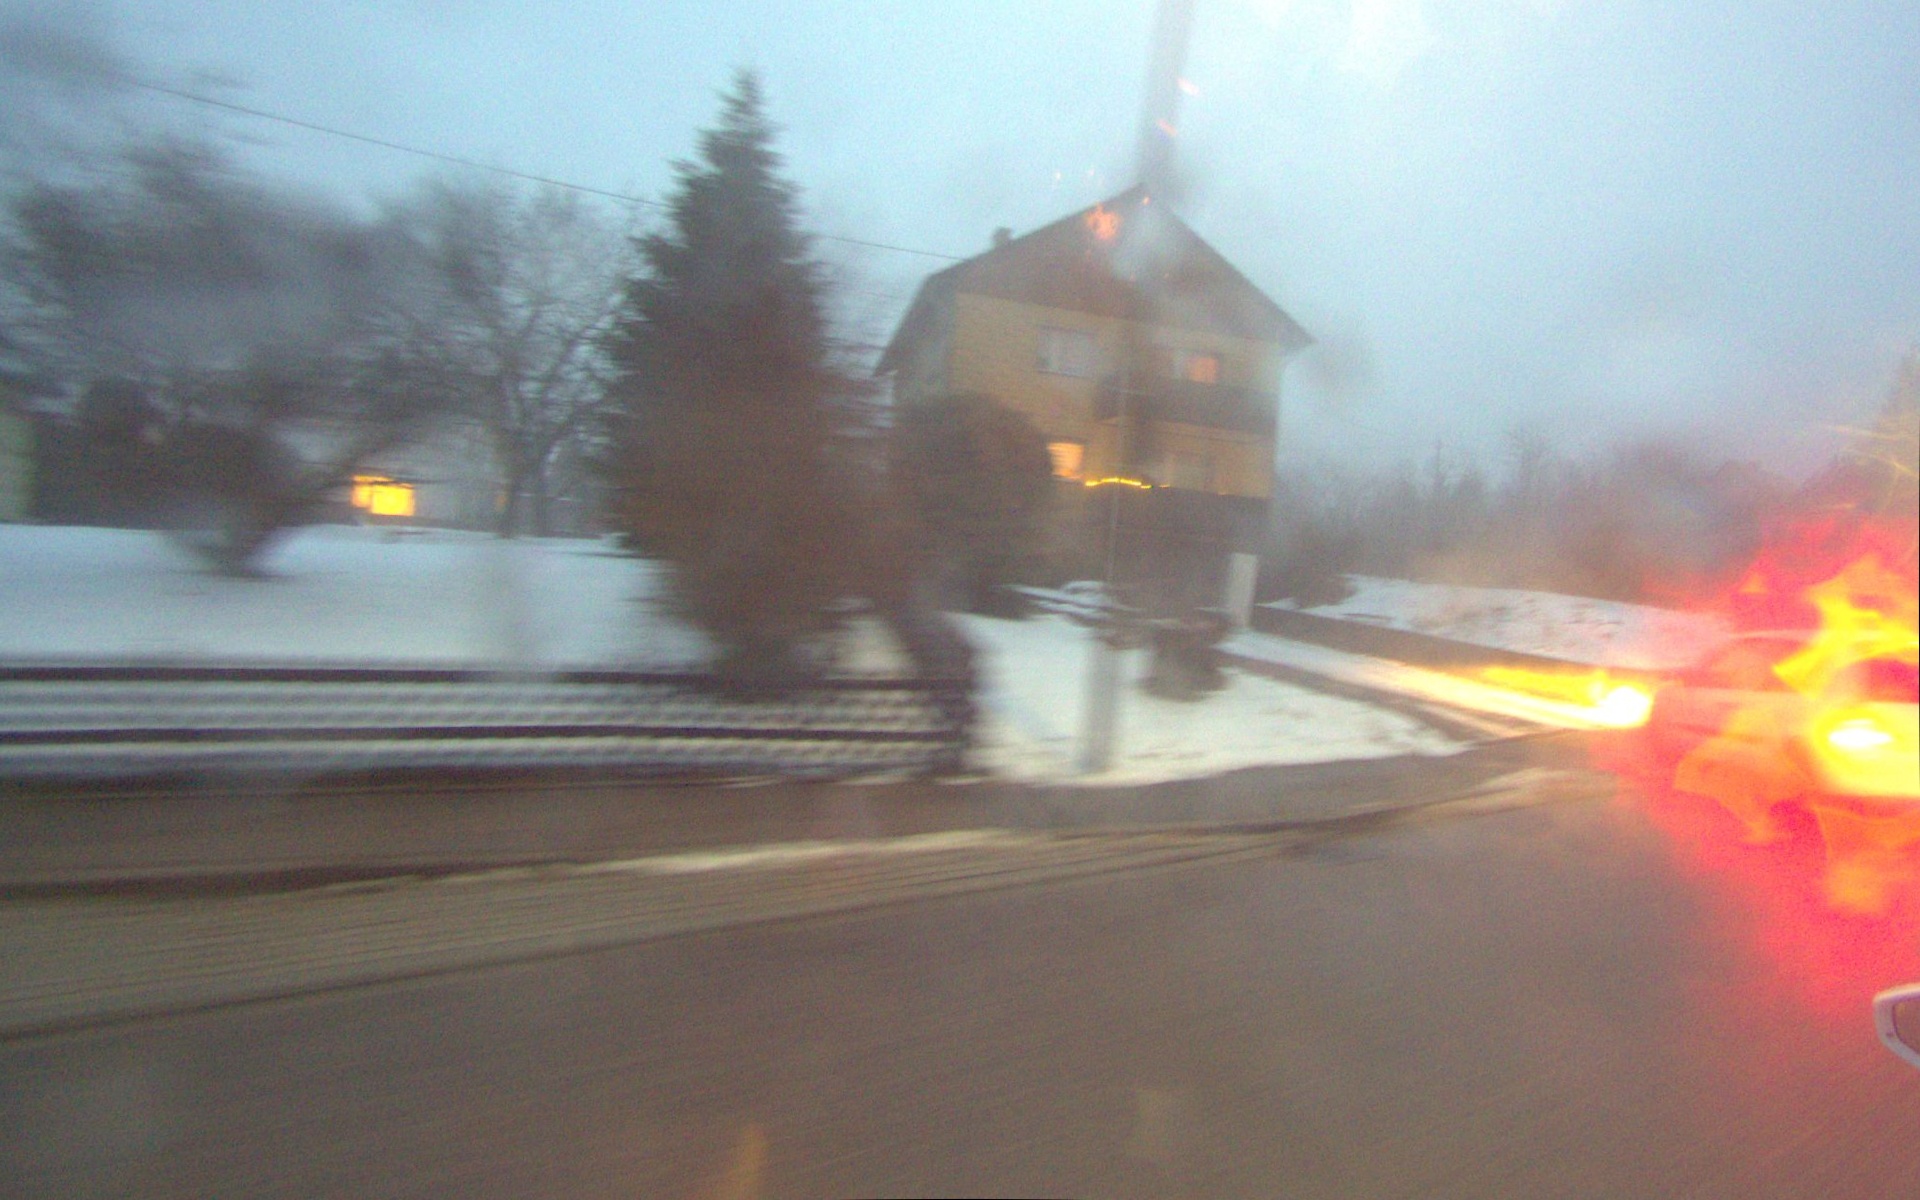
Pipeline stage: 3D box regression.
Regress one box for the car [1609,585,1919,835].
[{"bbox_3d":[7.431,0.745,8.630,1.865,1.631,4.001,2,2,14],"label":"car"}]
